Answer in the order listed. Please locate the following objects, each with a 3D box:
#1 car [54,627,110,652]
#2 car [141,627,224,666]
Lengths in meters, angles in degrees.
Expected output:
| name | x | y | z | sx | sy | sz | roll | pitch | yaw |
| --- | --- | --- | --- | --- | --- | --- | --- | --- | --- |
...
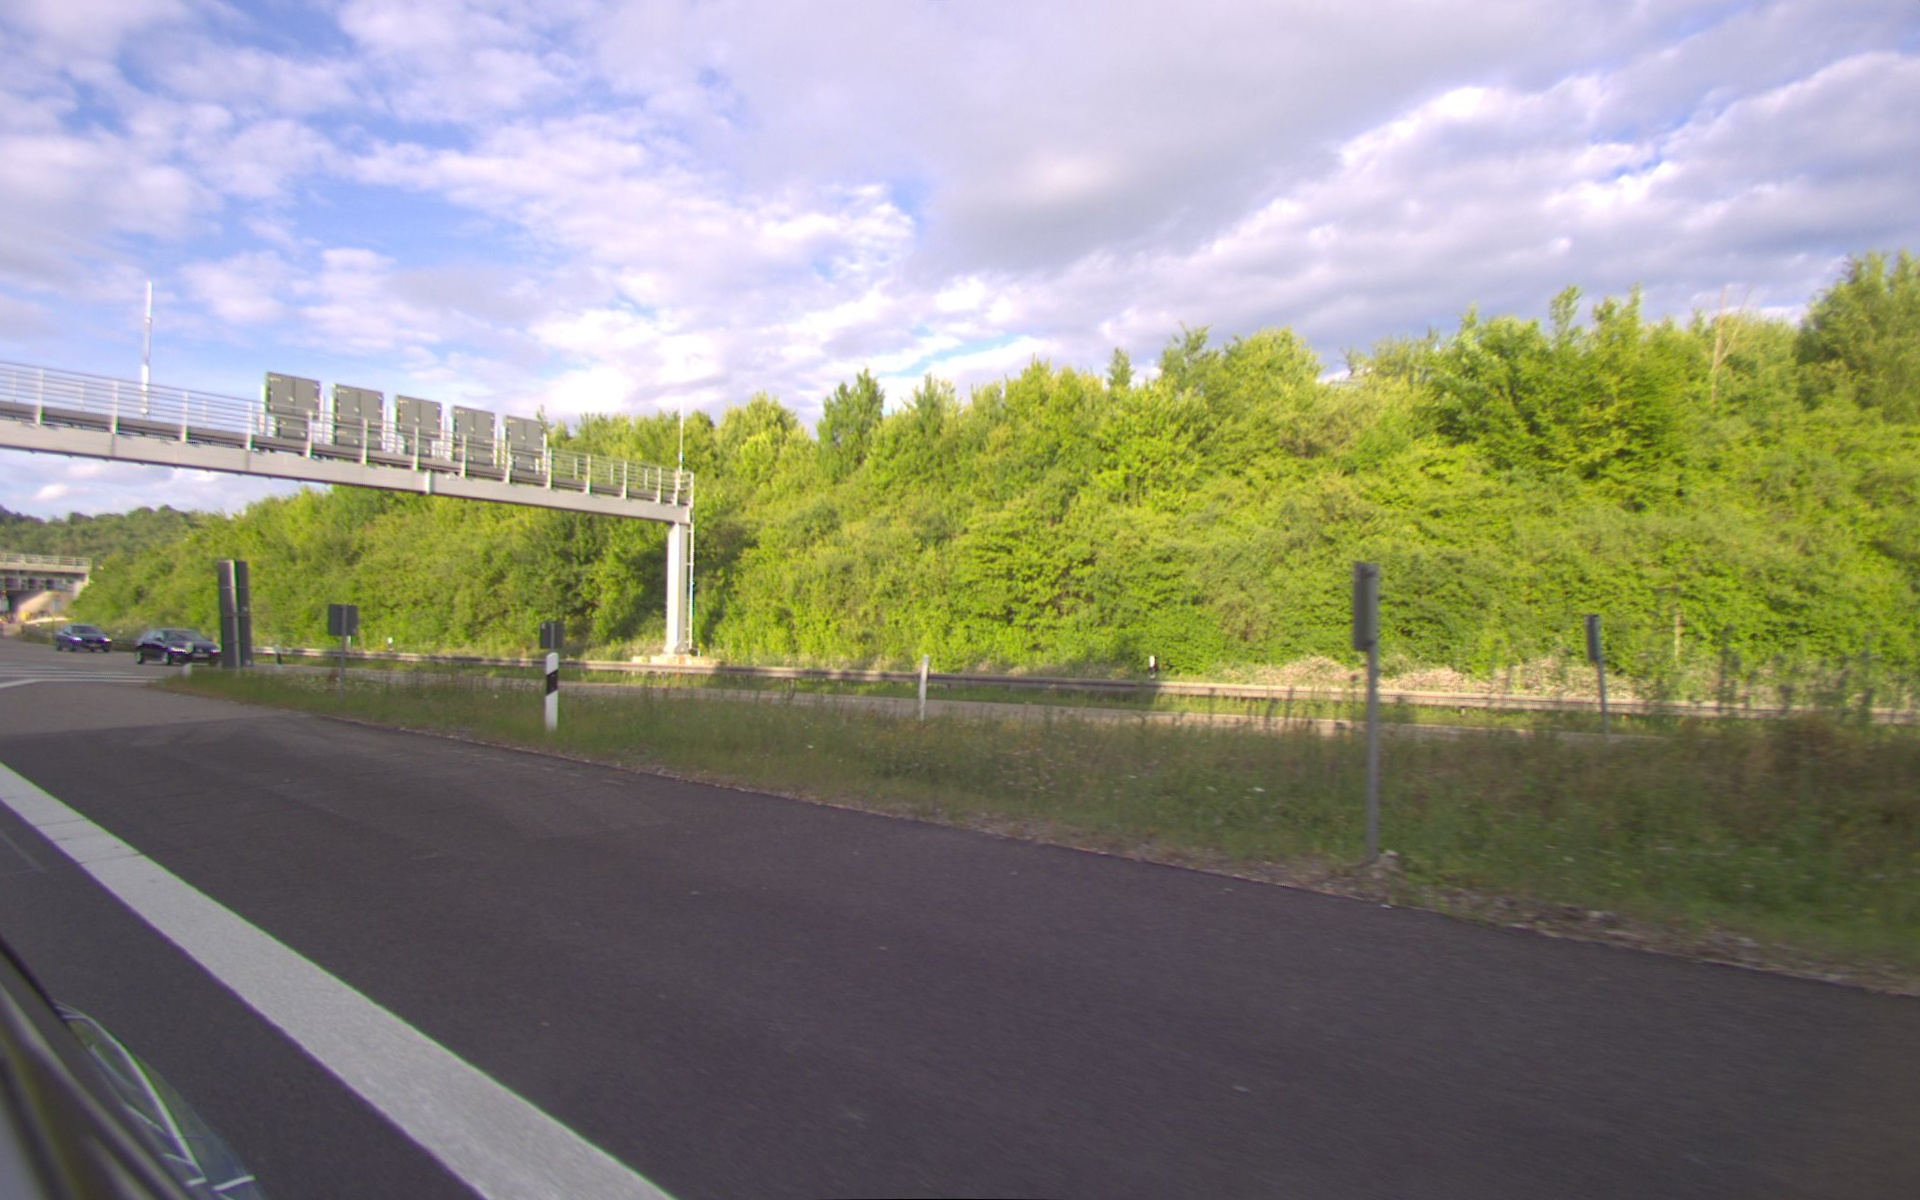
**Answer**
| name | x | y | z | sx | sy | sz | roll | pitch | yaw |
| --- | --- | --- | --- | --- | --- | --- | --- | --- | --- |
| car | -50.776 | 2.259 | 58.522 | 3.997 | 1.301 | 1.856 | -1 | -1 | 40 |
| car | -30.485 | 1.777 | 39.655 | 3.997 | 1.417 | 1.740 | -1 | -2 | 40 |
